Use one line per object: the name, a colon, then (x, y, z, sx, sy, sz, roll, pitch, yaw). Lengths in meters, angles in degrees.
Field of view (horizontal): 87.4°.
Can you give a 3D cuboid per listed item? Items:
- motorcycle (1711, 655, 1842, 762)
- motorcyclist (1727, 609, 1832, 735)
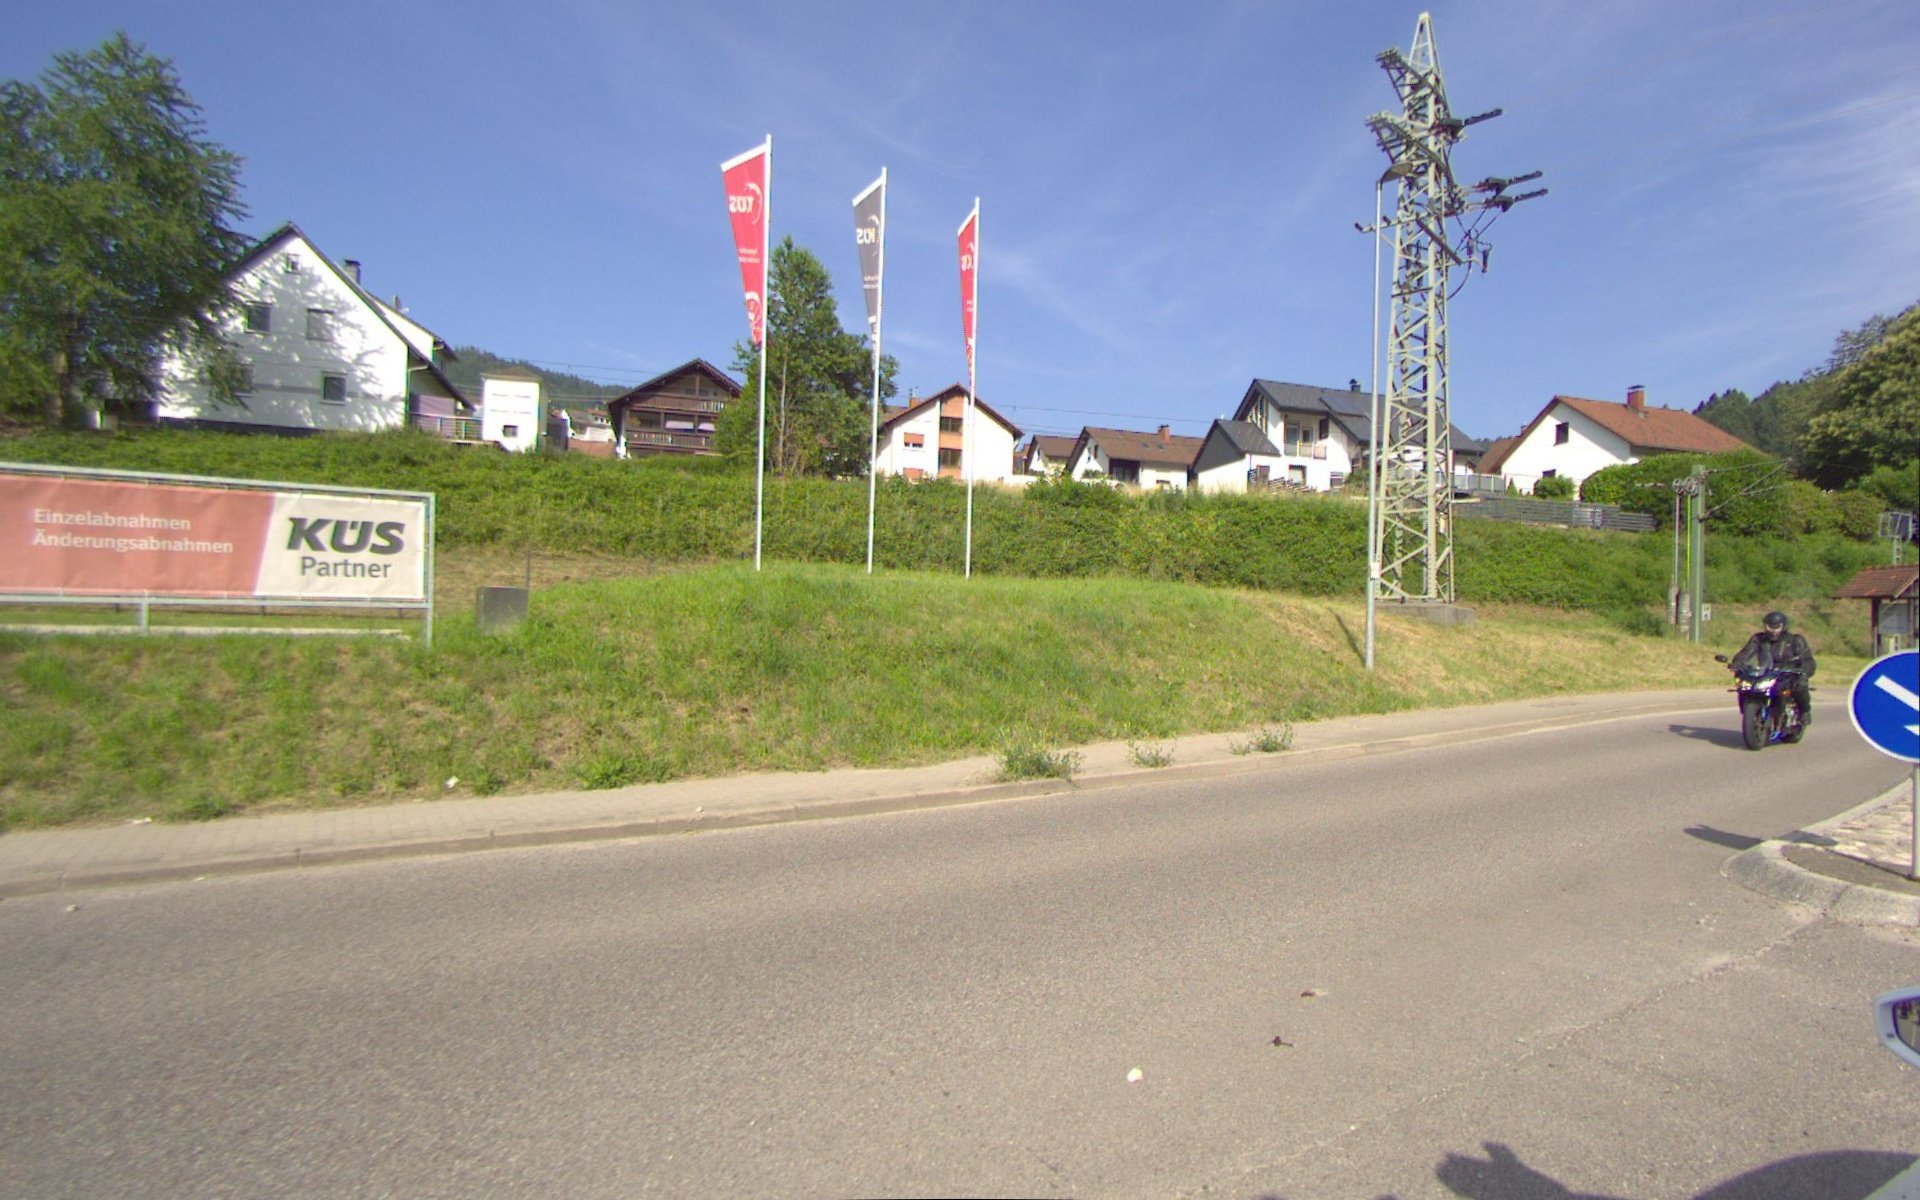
motorcycle: (10.471, 1.327, 12.849, 2.287, 1.199, 0.887, 2, -1, -40)
motorcyclist: (10.517, 0.900, 12.897, 0.840, 1.539, 0.898, 2, -1, -40)
